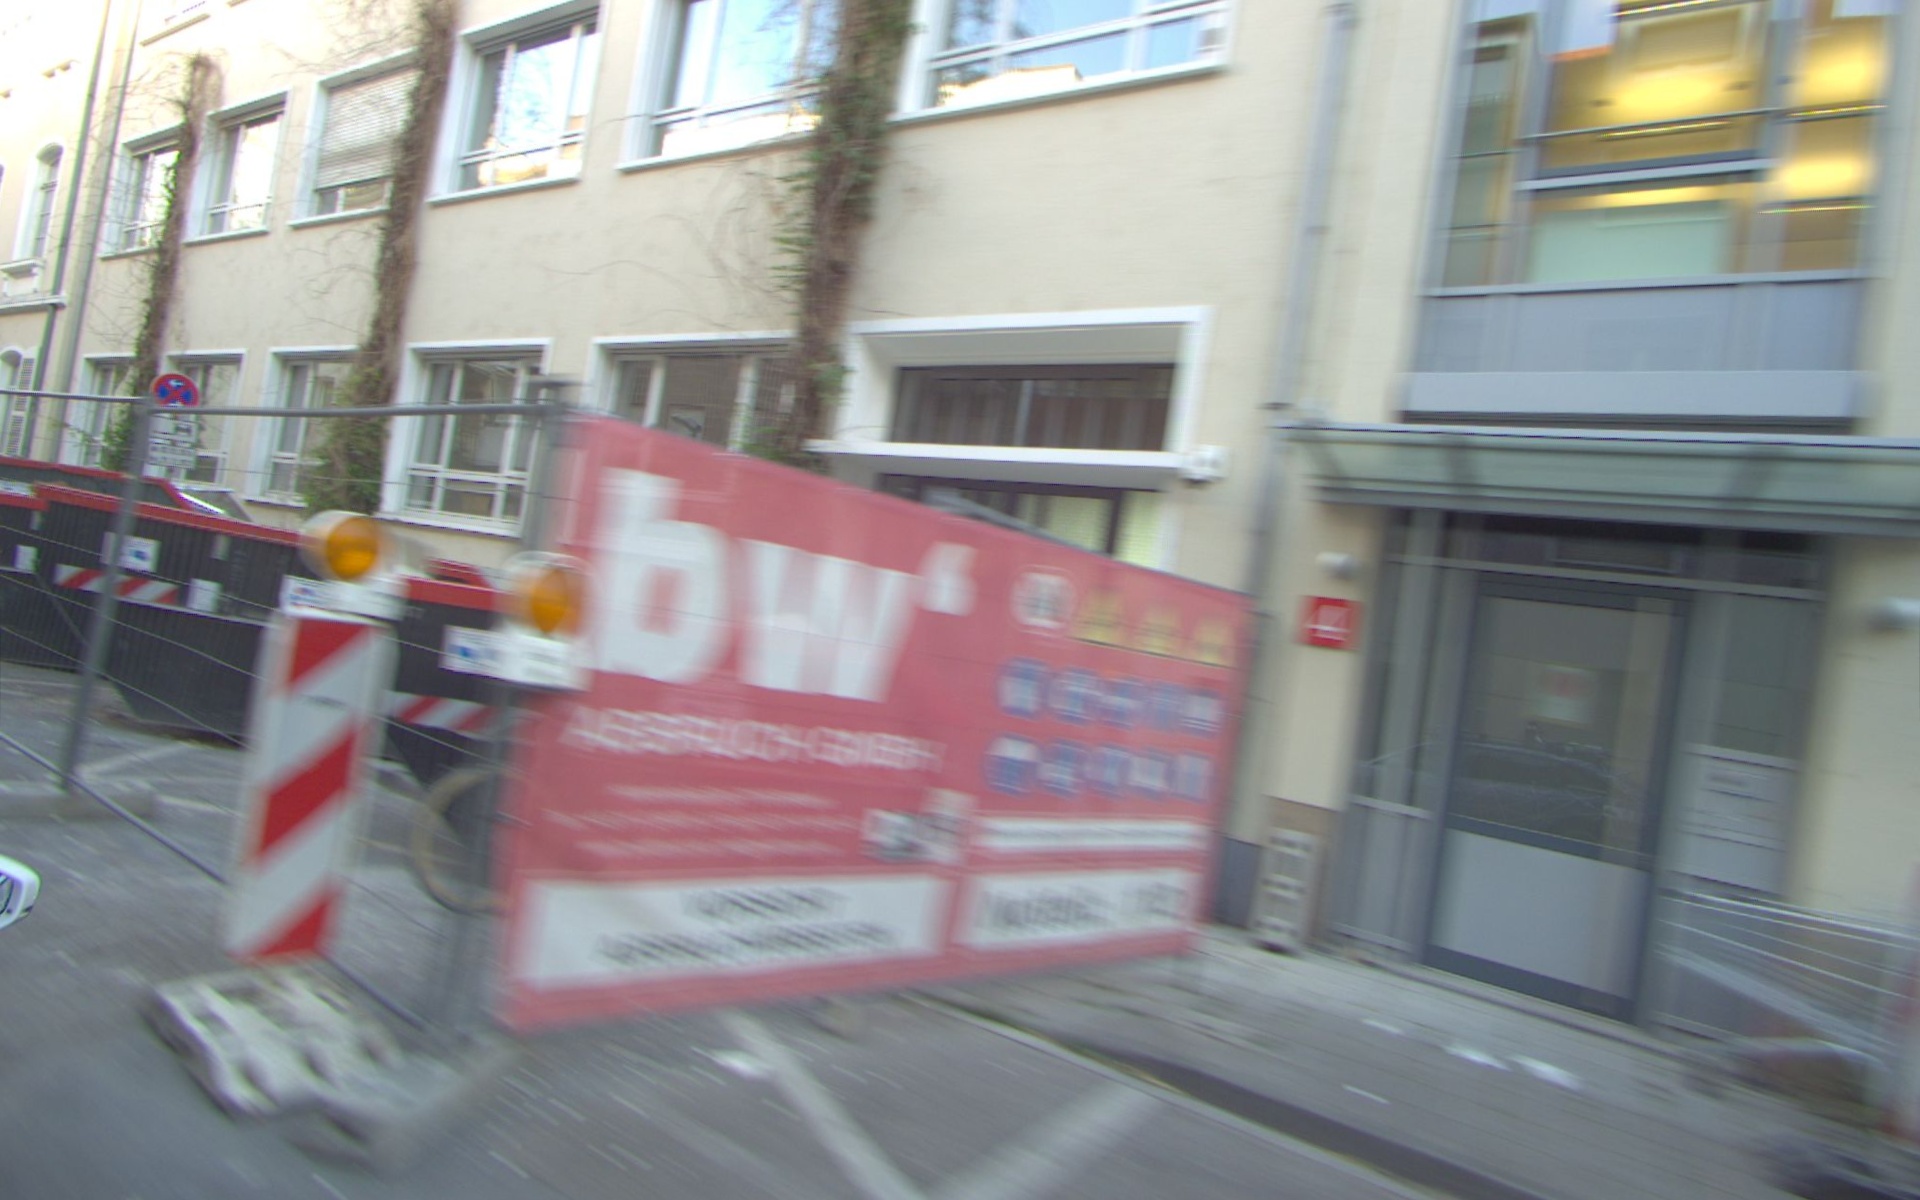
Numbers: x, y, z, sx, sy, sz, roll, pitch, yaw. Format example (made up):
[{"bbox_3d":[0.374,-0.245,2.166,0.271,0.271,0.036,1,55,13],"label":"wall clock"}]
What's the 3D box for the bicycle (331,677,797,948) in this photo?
[{"bbox_3d":[-1.727,0.971,4.607,1.781,0.918,0.458,11,-2,-15],"label":"bicycle"}]
